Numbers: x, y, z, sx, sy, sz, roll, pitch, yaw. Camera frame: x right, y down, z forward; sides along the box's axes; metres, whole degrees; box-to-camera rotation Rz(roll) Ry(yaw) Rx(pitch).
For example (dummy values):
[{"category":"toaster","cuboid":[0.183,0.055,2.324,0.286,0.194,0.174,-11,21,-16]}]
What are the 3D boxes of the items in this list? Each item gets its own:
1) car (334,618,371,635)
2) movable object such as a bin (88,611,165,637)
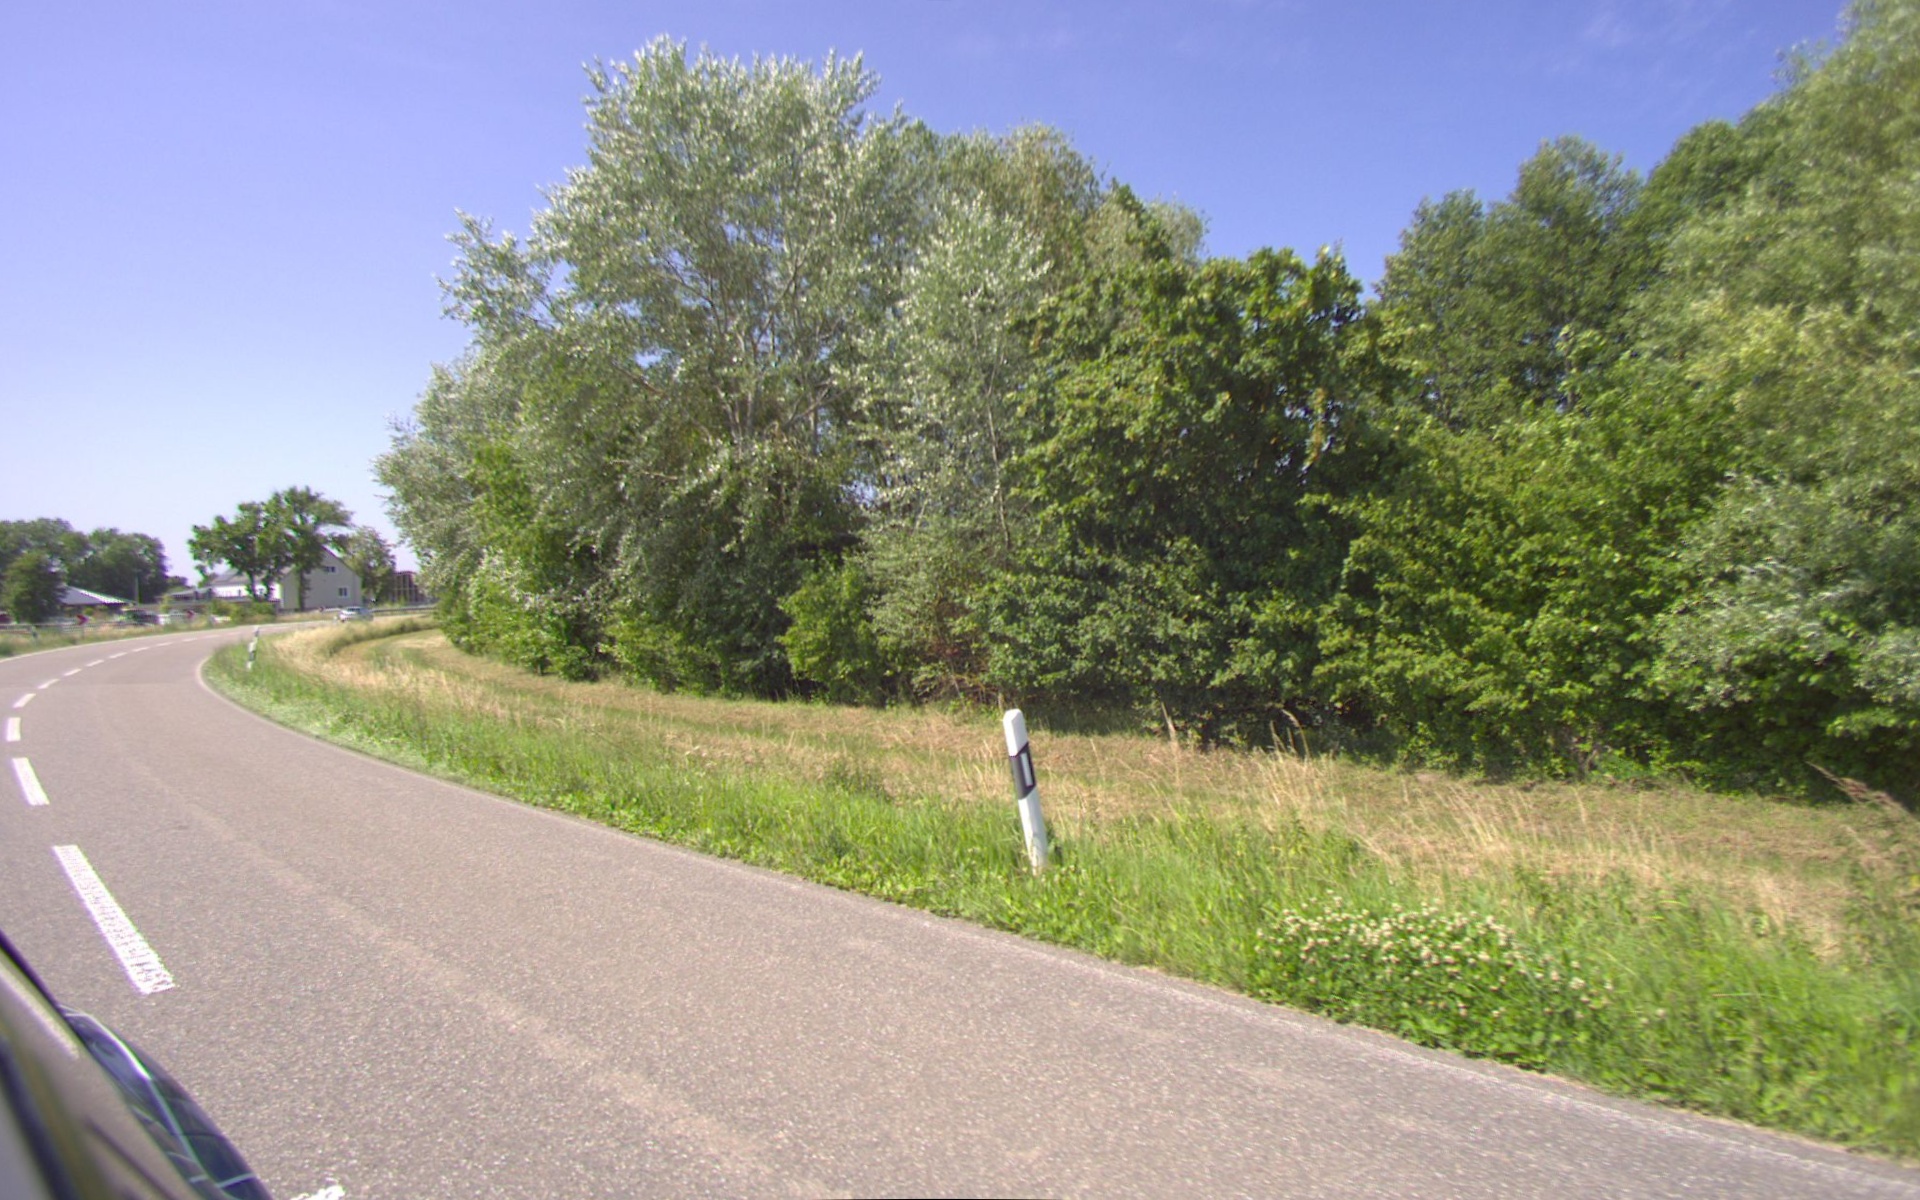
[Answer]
[{"category":"car","cuboid":[-53.504,2.295,89.163,1.759,1.438,4.071,2,-1,-16]},{"category":"movable object such as a bin","cuboid":[-99.718,2.842,121.257,2.987,2.790,6.468,-3,0,18]}]
